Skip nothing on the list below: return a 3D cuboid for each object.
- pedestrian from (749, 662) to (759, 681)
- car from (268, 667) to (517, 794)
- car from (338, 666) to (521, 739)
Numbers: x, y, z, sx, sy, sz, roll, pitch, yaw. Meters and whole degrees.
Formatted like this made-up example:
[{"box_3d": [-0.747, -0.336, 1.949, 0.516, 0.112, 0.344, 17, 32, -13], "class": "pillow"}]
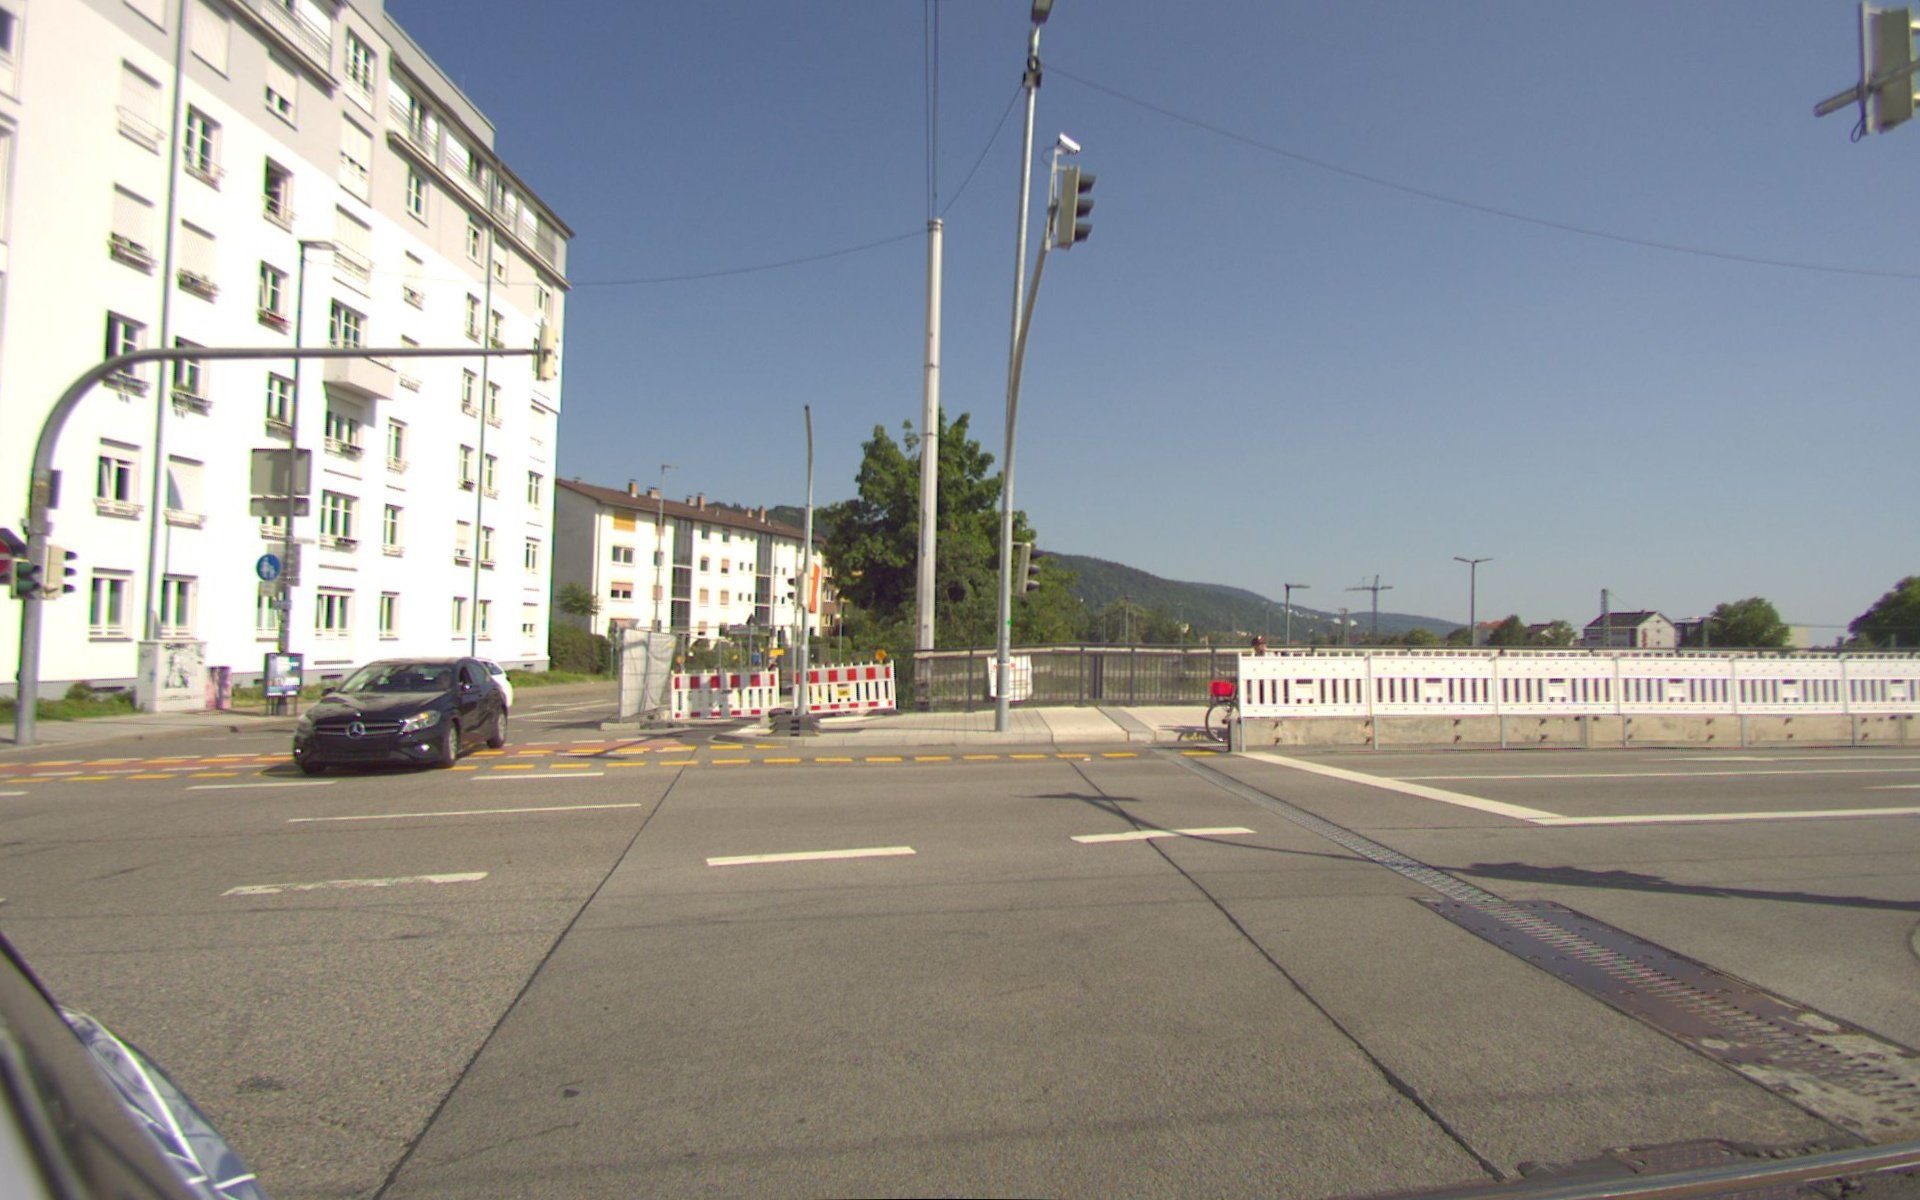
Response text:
[{"box_3d": [-16.235, 5.617, 79.683, 0.600, 1.520, 0.770, 0, -2, 4], "class": "pedestrian"}, {"box_3d": [-7.651, 1.671, 14.182, 1.676, 1.419, 4.633, 0, -3, -11], "class": "car"}, {"box_3d": [-11.513, 2.178, 22.351, 1.678, 1.423, 4.485, 0, -4, 0], "class": "car"}]
